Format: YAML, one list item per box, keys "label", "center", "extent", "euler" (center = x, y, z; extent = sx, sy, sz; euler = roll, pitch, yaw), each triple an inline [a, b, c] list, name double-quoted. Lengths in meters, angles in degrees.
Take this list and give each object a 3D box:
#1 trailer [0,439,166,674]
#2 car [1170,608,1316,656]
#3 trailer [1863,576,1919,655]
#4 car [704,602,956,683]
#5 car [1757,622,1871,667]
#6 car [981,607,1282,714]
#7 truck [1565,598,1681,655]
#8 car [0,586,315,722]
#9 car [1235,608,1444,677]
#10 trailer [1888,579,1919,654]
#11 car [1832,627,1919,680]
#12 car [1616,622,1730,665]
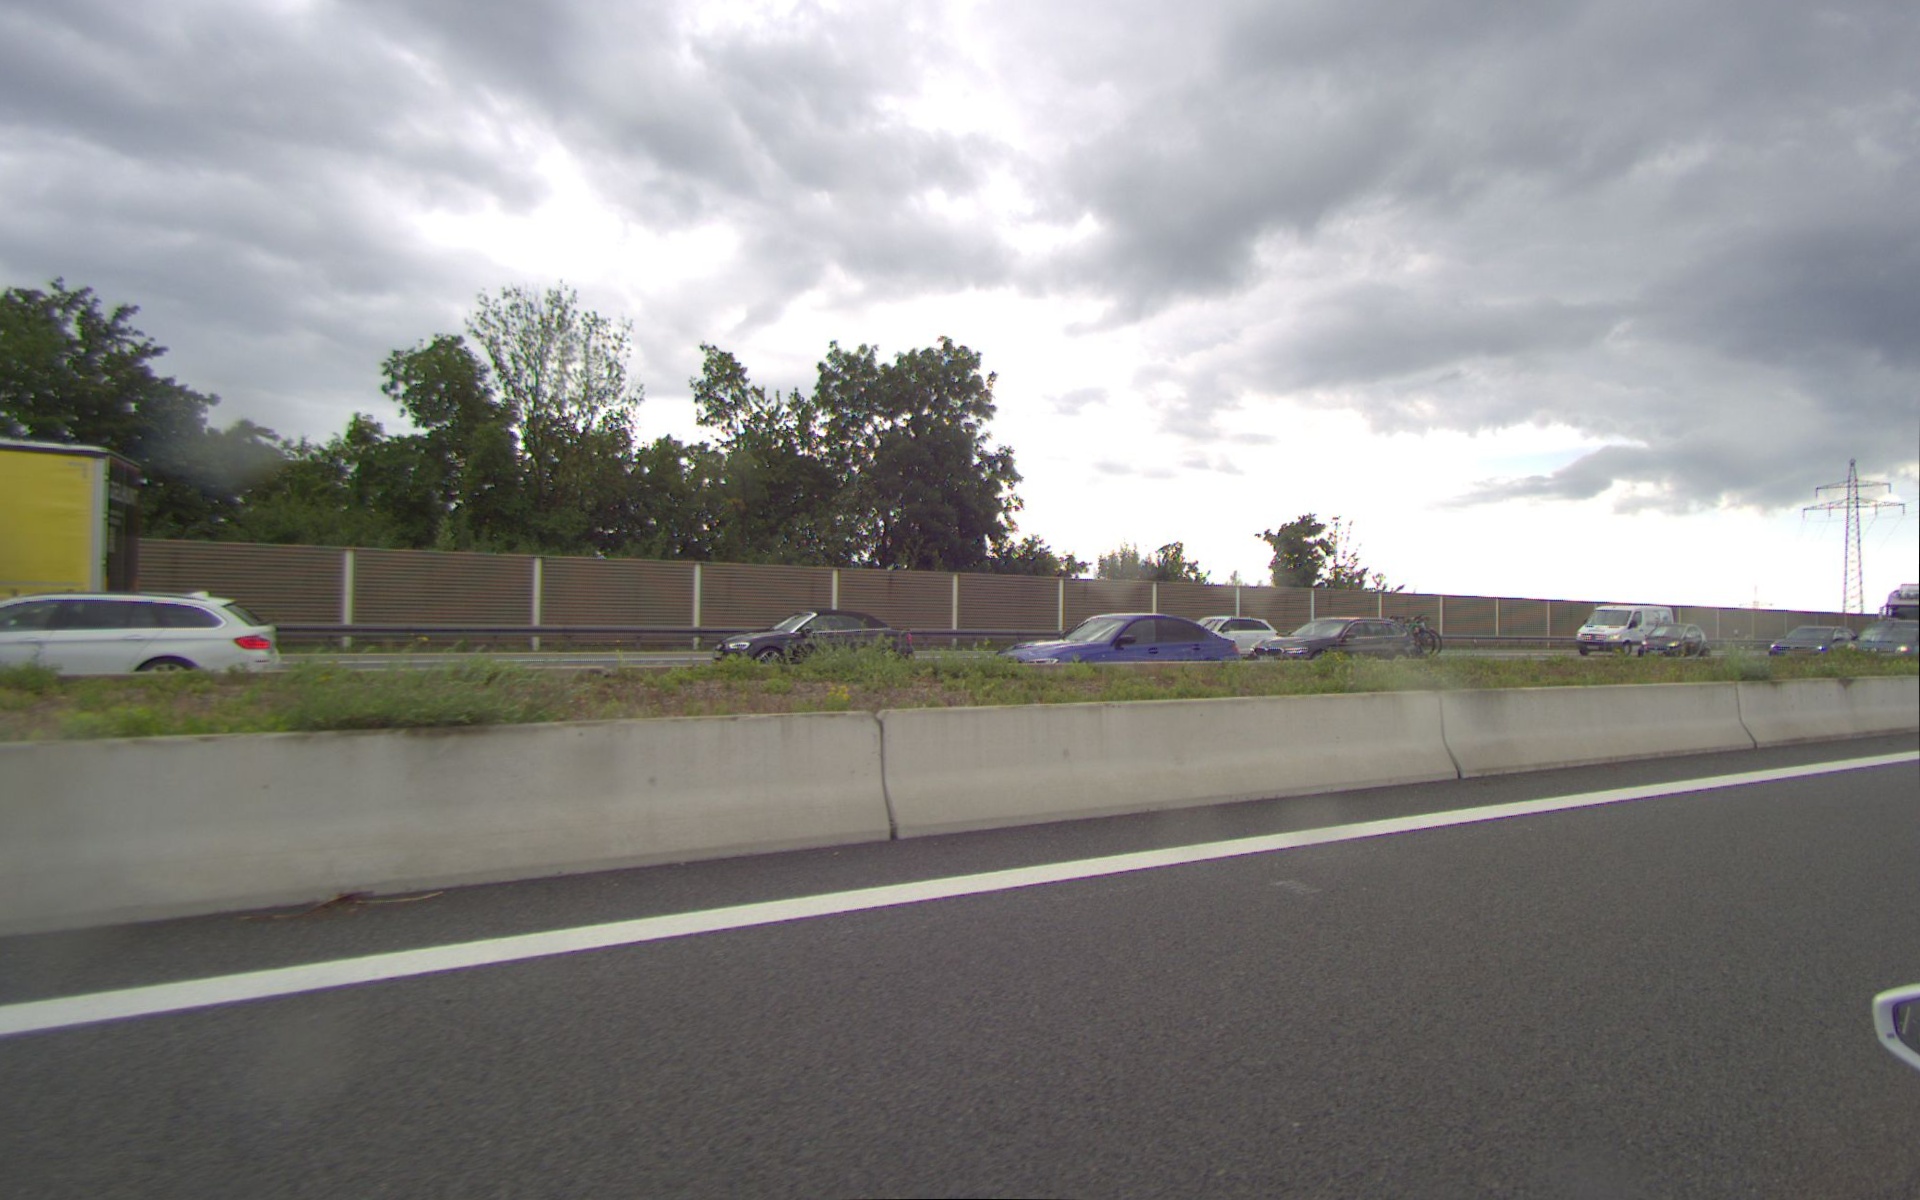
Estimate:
- label: "trailer"
  center: [-21.535, -0.916, 15.748]
  extent: [13.885, 4.016, 2.665]
  euler: [2, 0, -30]
- label: "car"
  center: [9.731, 1.114, 34.392]
  extent: [5.100, 1.516, 1.757]
  euler: [2, 0, -31]
- label: "trailer"
  center: [51.937, 0.888, 54.016]
  extent: [6.008, 4.097, 3.303]
  euler: [2, 0, -30]
- label: "car"
  center: [-2.725, 0.900, 21.588]
  extent: [5.100, 1.557, 1.757]
  euler: [2, 0, -31]
- label: "car"
  center: [33.012, 1.717, 38.783]
  extent: [5.100, 1.557, 1.757]
  euler: [2, 0, -31]
- label: "car"
  center: [2.998, 0.986, 17.086]
  extent: [5.100, 1.557, 1.757]
  euler: [2, 0, -31]
- label: "truck"
  center: [30.832, 1.249, 46.656]
  extent: [5.728, 2.449, 2.106]
  euler: [2, 0, -30]
- label: "car"
  center: [-11.288, 0.639, 12.677]
  extent: [5.179, 1.557, 1.757]
  euler: [2, 0, -31]
- label: "car"
  center: [9.627, 1.065, 25.289]
  extent: [5.647, 1.569, 1.757]
  euler: [2, 0, -31]
- label: "trailer"
  center: [58.042, 1.094, 57.669]
  extent: [13.133, 4.115, 3.303]
  euler: [2, 0, -31]
- label: "car"
  center: [30.693, 1.741, 33.004]
  extent: [4.431, 1.557, 1.757]
  euler: [2, 0, -30]
- label: "car"
  center: [28.482, 1.749, 40.094]
  extent: [5.100, 1.557, 1.757]
  euler: [2, 0, -31]
